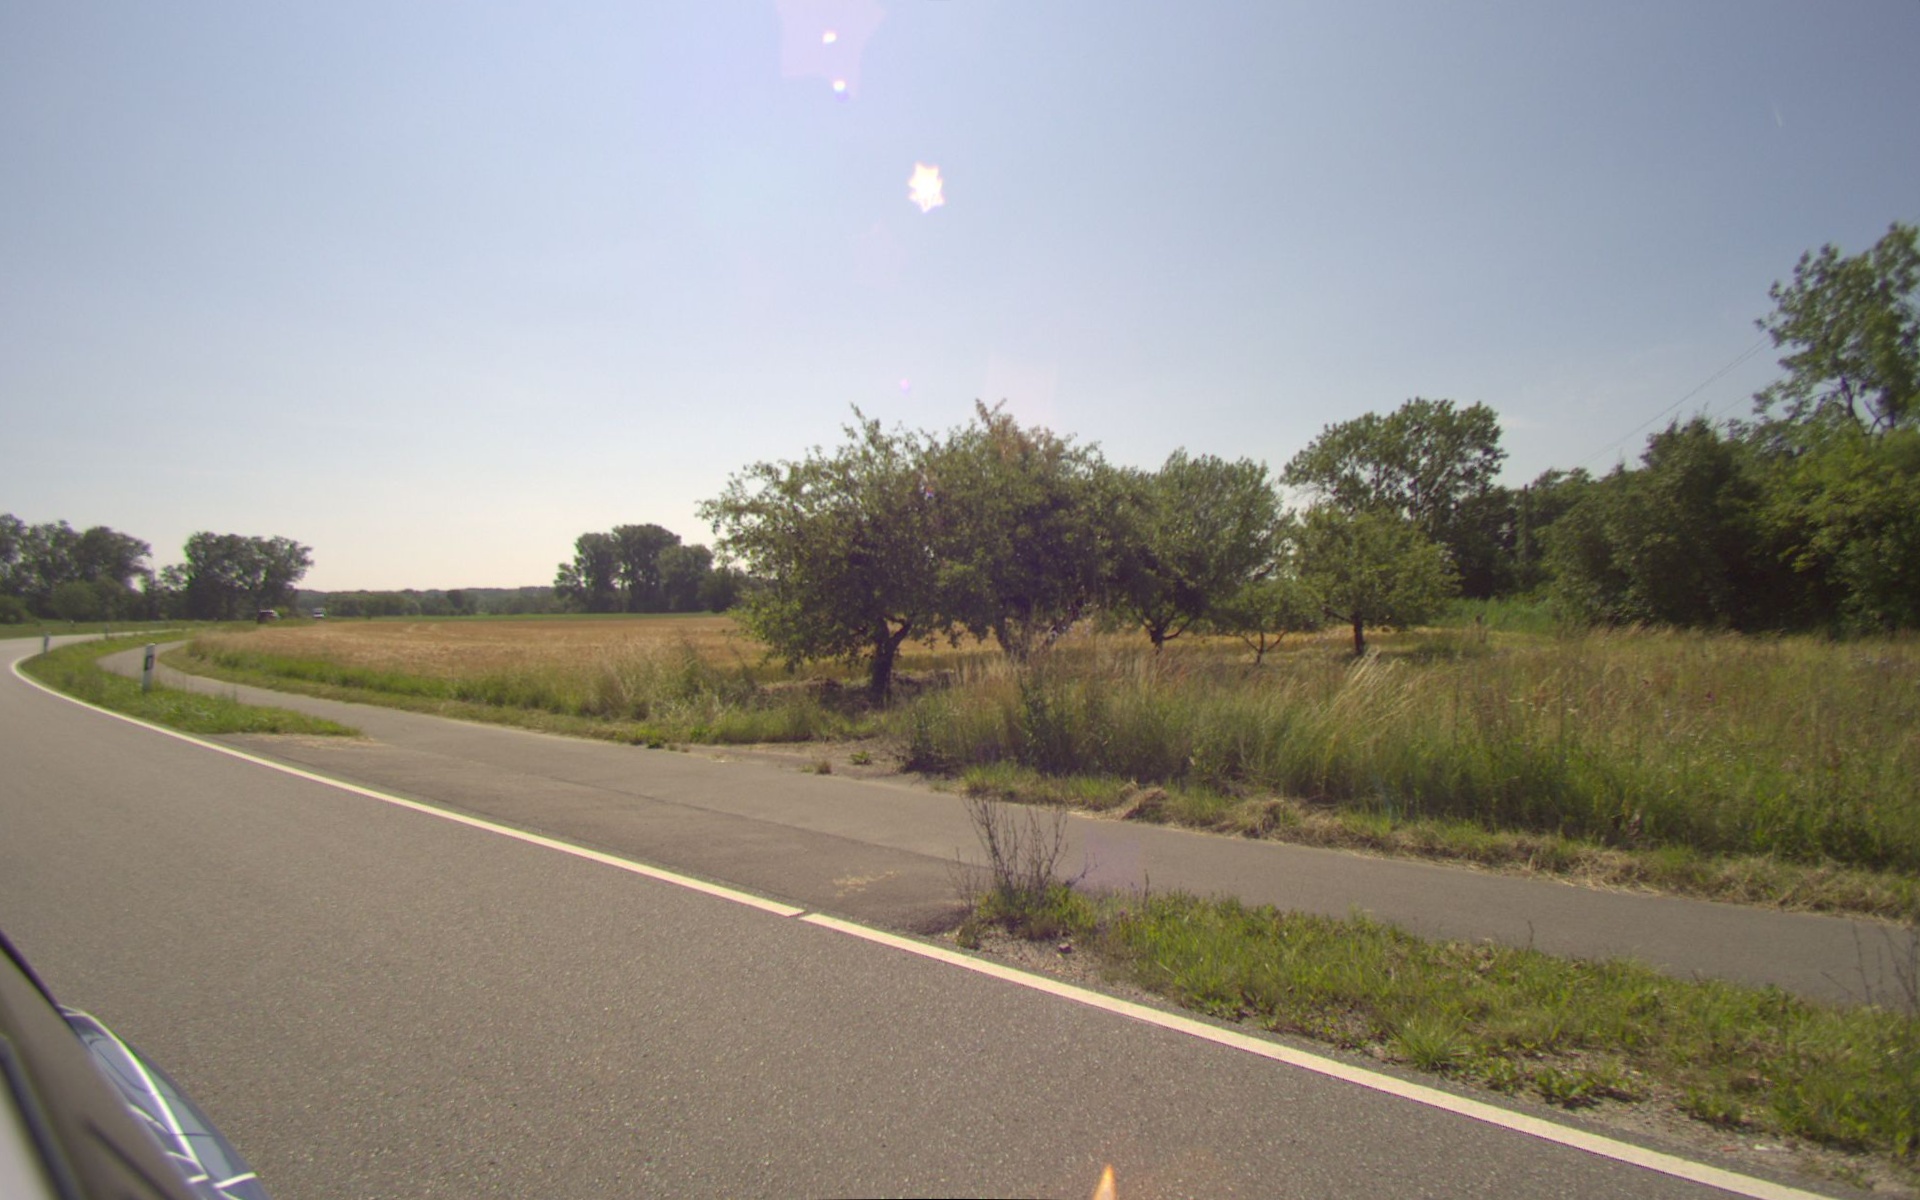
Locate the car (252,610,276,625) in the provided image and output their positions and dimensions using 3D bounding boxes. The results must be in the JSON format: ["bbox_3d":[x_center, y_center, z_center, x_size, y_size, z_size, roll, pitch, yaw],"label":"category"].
[{"bbox_3d":[-82.506,2.085,119.950,1.860,1.728,4.027,1,-2,-28],"label":"car"}]
